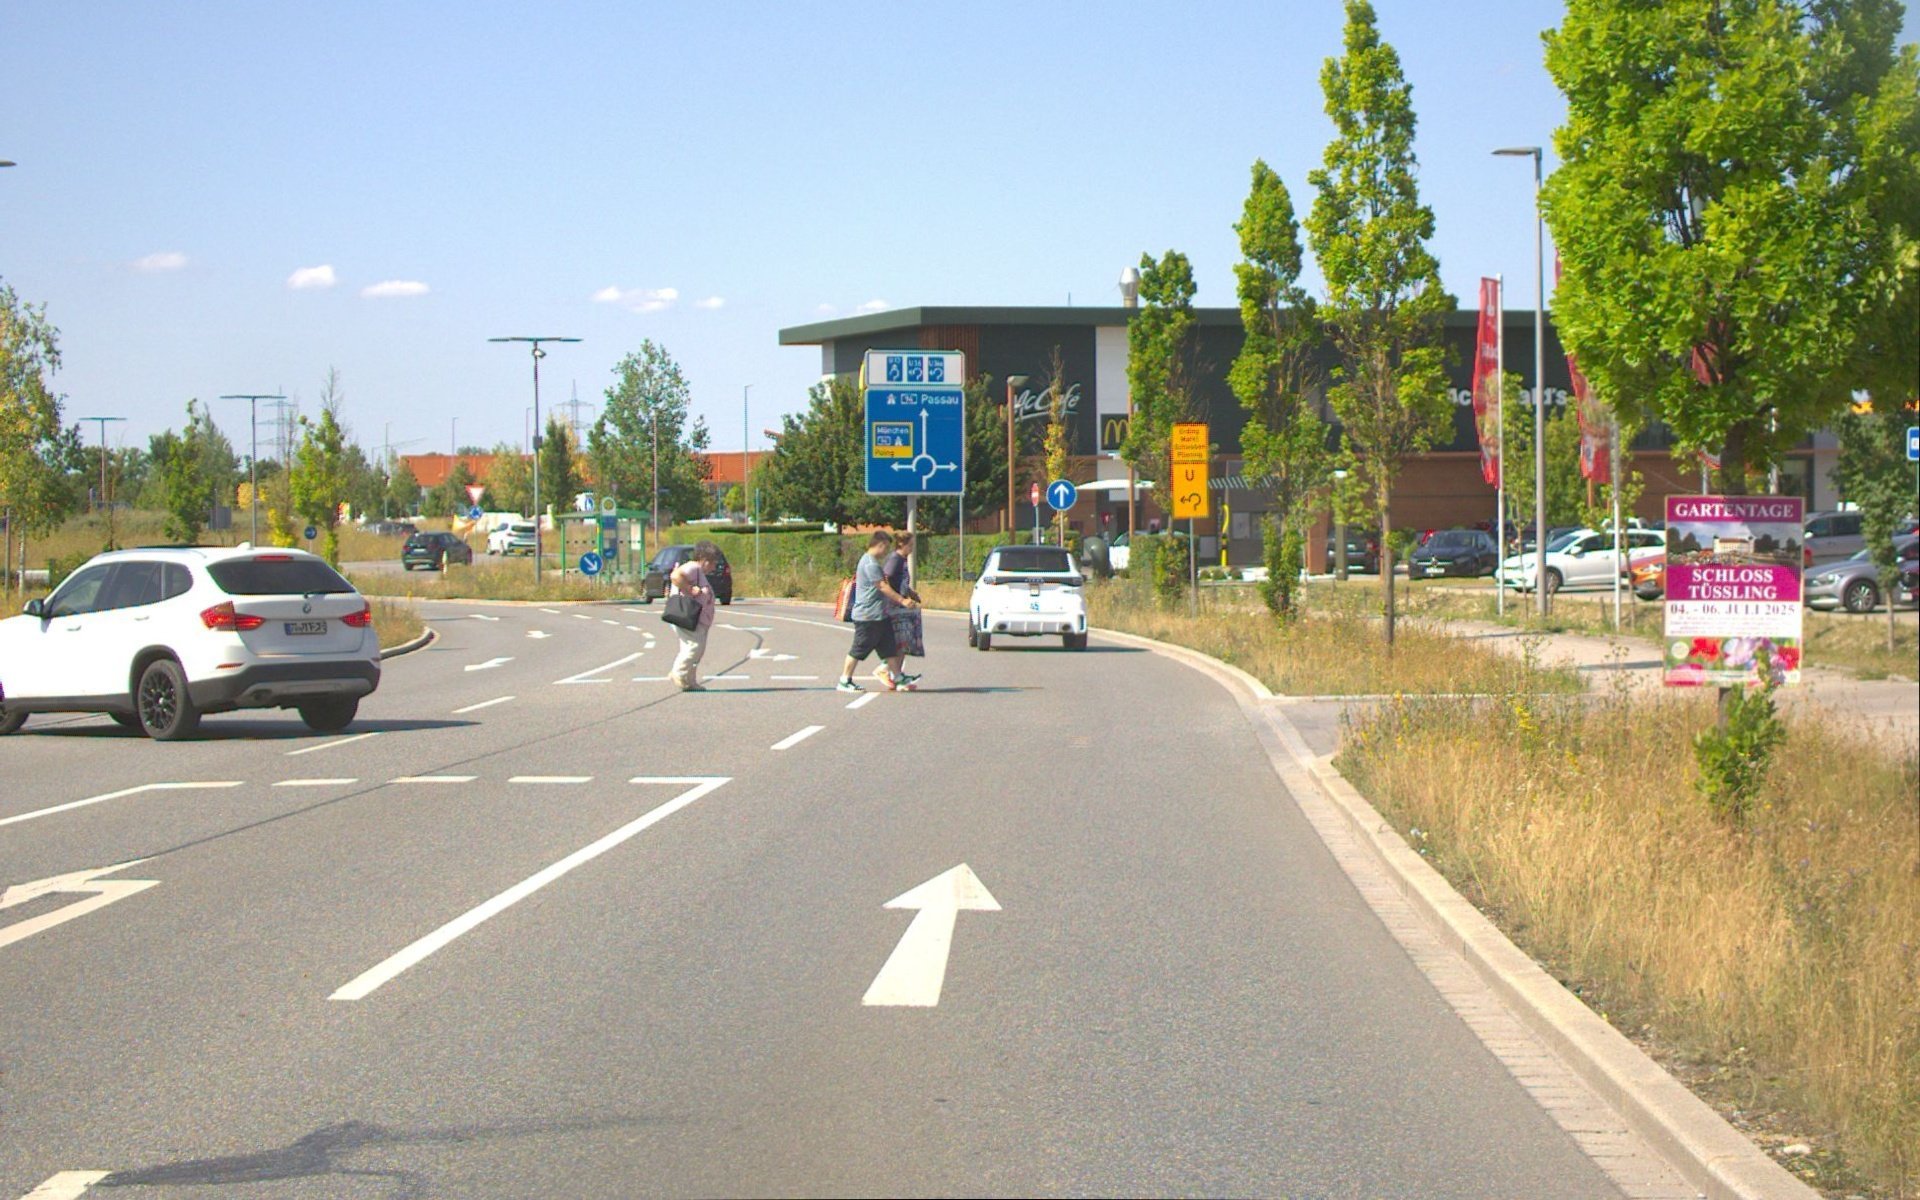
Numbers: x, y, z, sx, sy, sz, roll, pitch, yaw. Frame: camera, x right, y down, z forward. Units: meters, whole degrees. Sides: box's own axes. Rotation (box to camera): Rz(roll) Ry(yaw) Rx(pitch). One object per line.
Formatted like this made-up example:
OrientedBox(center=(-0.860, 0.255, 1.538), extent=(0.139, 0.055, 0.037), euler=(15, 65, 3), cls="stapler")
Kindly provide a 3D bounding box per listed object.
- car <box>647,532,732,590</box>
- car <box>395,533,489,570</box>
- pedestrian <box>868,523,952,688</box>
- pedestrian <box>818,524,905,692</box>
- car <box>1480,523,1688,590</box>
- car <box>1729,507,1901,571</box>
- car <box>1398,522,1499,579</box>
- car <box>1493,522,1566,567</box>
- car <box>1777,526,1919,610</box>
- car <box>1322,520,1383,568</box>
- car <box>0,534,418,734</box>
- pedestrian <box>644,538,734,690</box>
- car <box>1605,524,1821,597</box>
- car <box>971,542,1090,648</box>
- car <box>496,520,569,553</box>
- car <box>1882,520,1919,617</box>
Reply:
OrientedBox(center=(-6.982, -1.014, 88.502), extent=(1.616, 1.429, 3.794), euler=(-1, 1, -13), cls="car")
OrientedBox(center=(-21.282, -2.016, 141.429), extent=(1.996, 1.435, 3.995), euler=(0, 2, 23), cls="car")
OrientedBox(center=(-0.494, 0.049, 34.298), extent=(0.801, 1.624, 0.805), euler=(0, 1, 1), cls="pedestrian")
OrientedBox(center=(-0.958, 0.066, 33.719), extent=(0.809, 1.623, 0.866), euler=(0, 1, 1), cls="pedestrian")
OrientedBox(center=(14.995, -1.067, 82.672), extent=(4.524, 1.485, 1.869), euler=(-1, 2, -13), cls="car")
OrientedBox(center=(22.766, -1.636, 91.530), extent=(4.154, 1.629, 1.792), euler=(-1, 1, -21), cls="car")
OrientedBox(center=(13.241, -1.352, 92.957), extent=(1.699, 1.457, 4.164), euler=(0, 1, 23), cls="car")
OrientedBox(center=(19.781, -1.931, 119.396), extent=(1.794, 1.508, 3.996), euler=(-1, 1, 20), cls="car")
OrientedBox(center=(18.093, -0.650, 65.456), extent=(4.554, 1.485, 1.869), euler=(-2, 2, -9), cls="car")
OrientedBox(center=(13.390, -1.918, 117.210), extent=(1.793, 1.599, 3.998), euler=(-1, 1, 10), cls="car")
OrientedBox(center=(-6.584, 0.231, 28.878), extent=(1.912, 1.542, 4.223), euler=(-1, 1, -44), cls="car")
OrientedBox(center=(-2.668, 0.128, 33.894), extent=(0.793, 1.465, 0.949), euler=(0, 1, 1), cls="pedestrian")
OrientedBox(center=(16.472, -0.875, 75.297), extent=(4.203, 1.485, 1.869), euler=(-1, 2, -13), cls="car")
OrientedBox(center=(1.007, -0.095, 48.921), extent=(1.616, 1.429, 3.792), euler=(0, 1, 1), cls="car")
OrientedBox(center=(-19.789, -2.931, 159.313), extent=(1.995, 1.459, 3.998), euler=(0, 2, 14), cls="car")
OrientedBox(center=(18.676, -0.610, 60.800), extent=(4.153, 1.659, 1.869), euler=(-1, 2, -6), cls="car")
